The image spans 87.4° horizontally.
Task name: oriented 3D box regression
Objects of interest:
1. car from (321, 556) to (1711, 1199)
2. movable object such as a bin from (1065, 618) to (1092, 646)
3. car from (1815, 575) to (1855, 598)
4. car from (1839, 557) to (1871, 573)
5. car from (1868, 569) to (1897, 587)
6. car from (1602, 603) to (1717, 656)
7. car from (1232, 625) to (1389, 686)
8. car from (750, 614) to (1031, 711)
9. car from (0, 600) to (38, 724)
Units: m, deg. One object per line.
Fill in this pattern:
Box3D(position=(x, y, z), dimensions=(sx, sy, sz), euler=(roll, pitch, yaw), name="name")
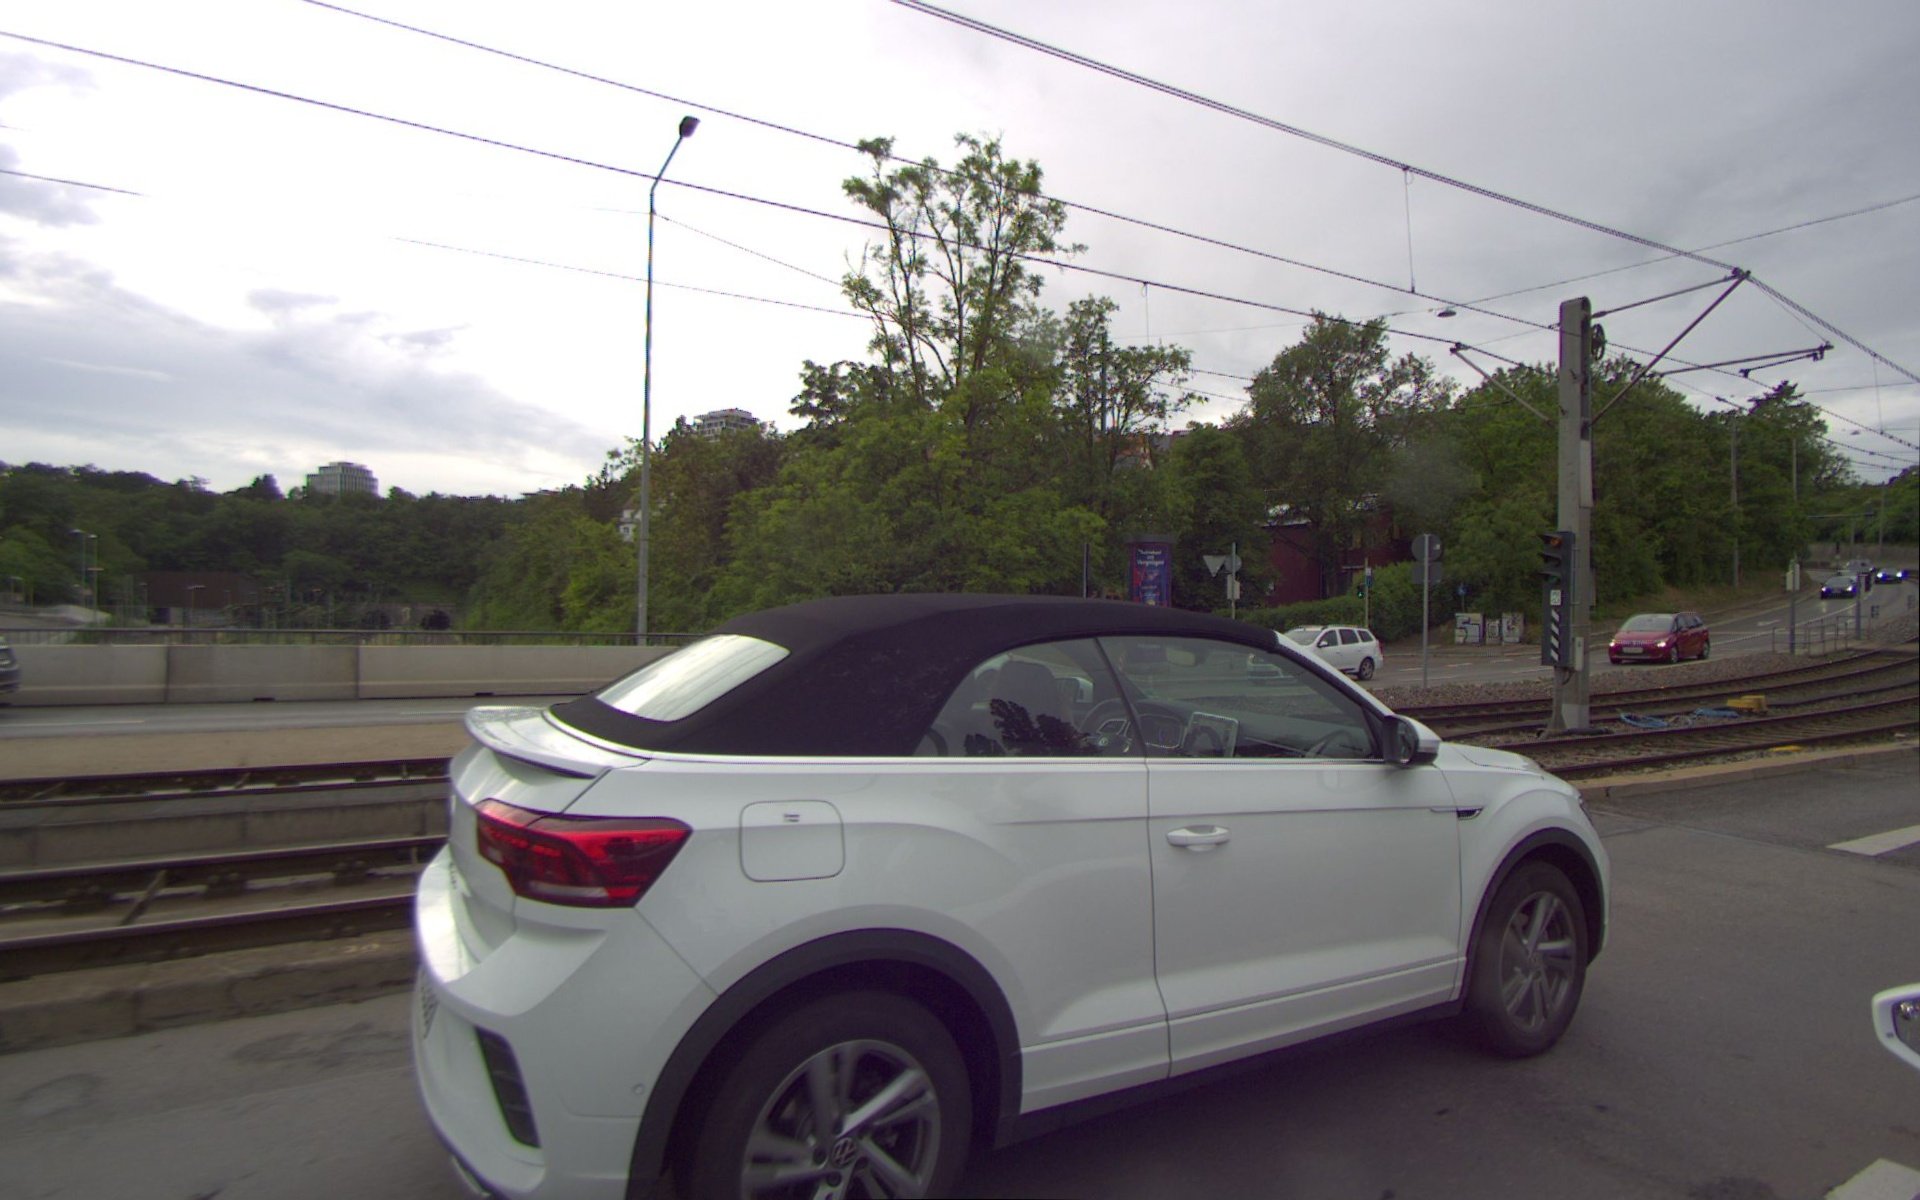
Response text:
Box3D(position=(0.481, 0.765, 3.523), dimensions=(4.487, 1.544, 1.862), euler=(2, -1, -30), name="car")
Box3D(position=(6.409, 1.751, 54.450), dimensions=(1.263, 1.445, 0.677), euler=(2, 0, 20), name="movable object such as a bin")
Box3D(position=(62.790, -0.969, 72.070), dimensions=(4.244, 1.478, 1.700), euler=(-2, 0, -43), name="car")
Box3D(position=(95.816, -3.739, 107.522), dimensions=(1.837, 1.457, 4.840), euler=(-4, 1, 34), name="car")
Box3D(position=(82.172, -1.986, 89.492), dimensions=(1.614, 1.402, 3.876), euler=(-4, -1, 39), name="car")
Box3D(position=(23.493, 0.957, 33.676), dimensions=(4.688, 1.618, 1.835), euler=(0, -1, -37), name="car")
Box3D(position=(9.708, 1.483, 27.673), dimensions=(4.483, 1.535, 1.809), euler=(2, -1, -35), name="car")
Box3D(position=(-1.104, 1.028, 16.921), dimensions=(4.441, 1.455, 1.721), euler=(2, -3, -32), name="car")
Box3D(position=(-14.950, 0.743, 12.205), dimensions=(5.124, 1.618, 1.960), euler=(2, -3, -30), name="car")
